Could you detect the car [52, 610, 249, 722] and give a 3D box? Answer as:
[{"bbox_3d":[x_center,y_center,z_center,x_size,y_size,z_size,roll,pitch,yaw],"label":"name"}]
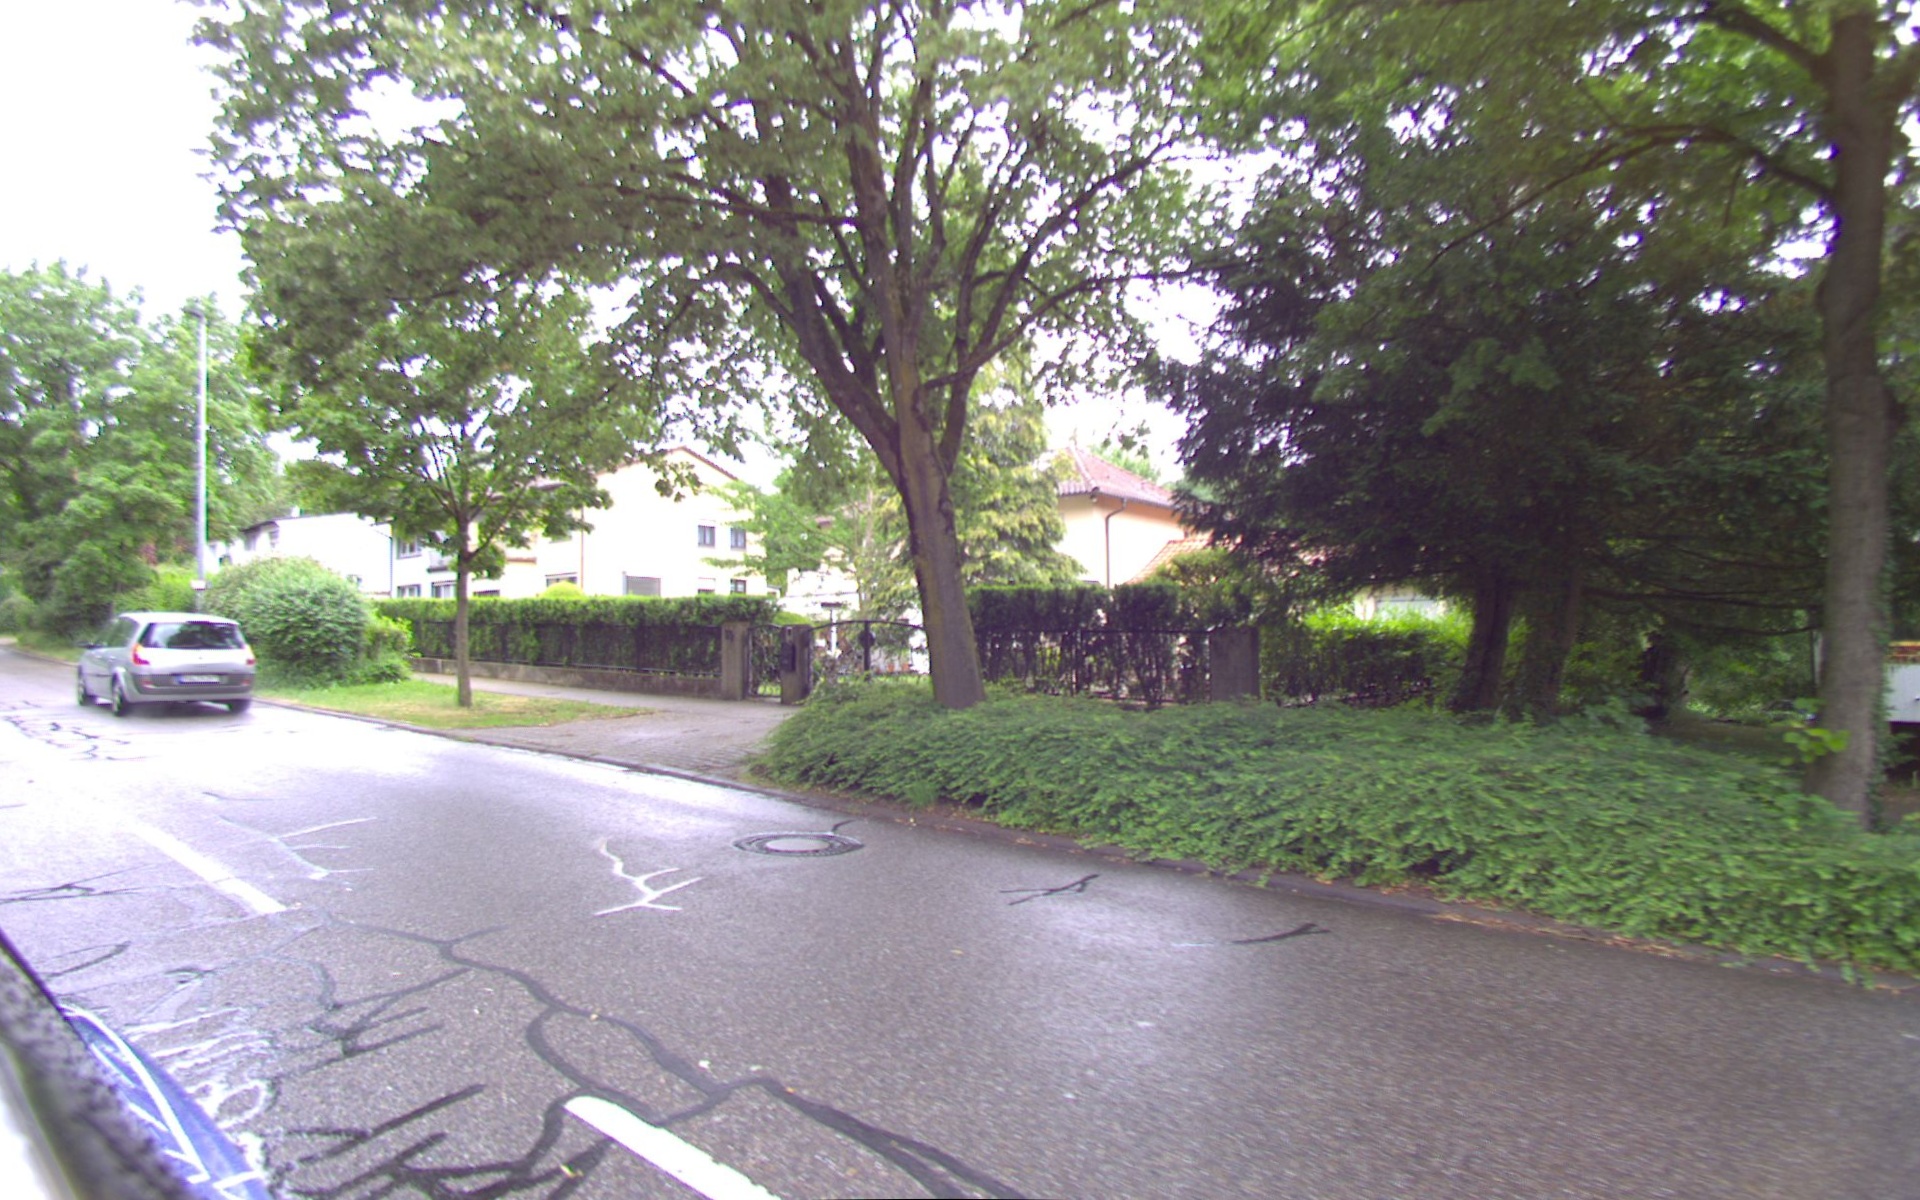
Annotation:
[{"bbox_3d":[-13.432,1.042,16.718,4.138,1.626,1.745,-2,-4,40],"label":"car"}]
